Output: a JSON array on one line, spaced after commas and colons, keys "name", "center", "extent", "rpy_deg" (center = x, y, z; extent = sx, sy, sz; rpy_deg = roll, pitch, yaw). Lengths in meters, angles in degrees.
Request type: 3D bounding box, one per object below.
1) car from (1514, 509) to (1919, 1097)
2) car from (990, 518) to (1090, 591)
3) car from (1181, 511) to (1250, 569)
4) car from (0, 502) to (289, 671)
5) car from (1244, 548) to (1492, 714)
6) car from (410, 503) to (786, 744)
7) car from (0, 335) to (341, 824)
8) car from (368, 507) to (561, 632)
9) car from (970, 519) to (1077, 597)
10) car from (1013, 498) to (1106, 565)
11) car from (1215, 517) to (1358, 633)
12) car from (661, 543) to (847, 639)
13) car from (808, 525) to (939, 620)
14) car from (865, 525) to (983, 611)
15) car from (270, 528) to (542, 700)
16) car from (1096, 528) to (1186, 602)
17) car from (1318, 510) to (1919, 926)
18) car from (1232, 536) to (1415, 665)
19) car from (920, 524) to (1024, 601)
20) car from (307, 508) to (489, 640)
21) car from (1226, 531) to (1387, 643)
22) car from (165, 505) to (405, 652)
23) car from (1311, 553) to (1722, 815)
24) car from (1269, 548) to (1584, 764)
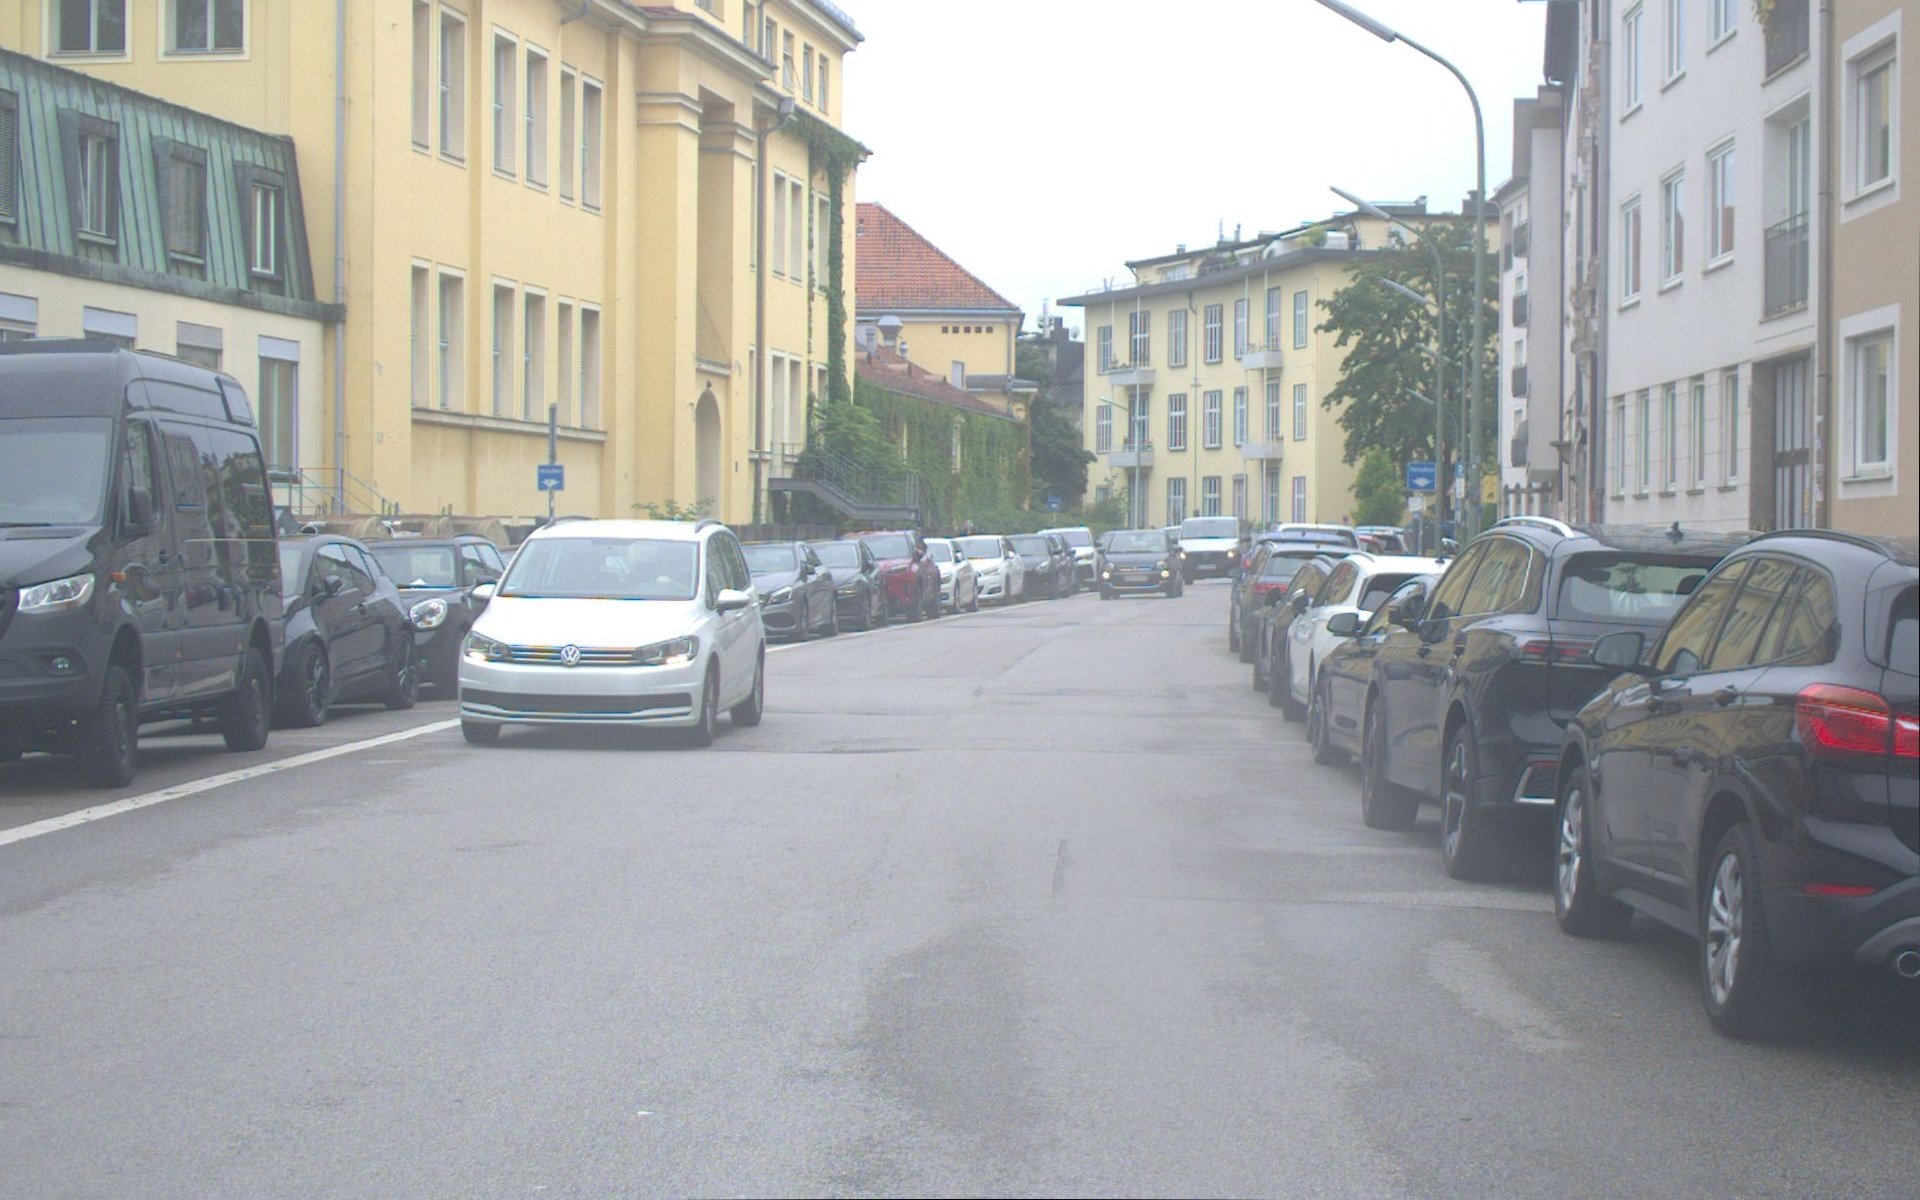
[{"name": "car", "center": [3.233, 0.550, 11.911], "extent": [1.830, 1.596, 4.267], "rpy_deg": [2, 2, -1]}, {"name": "car", "center": [1.922, -1.106, 81.438], "extent": [1.994, 1.543, 4.000], "rpy_deg": [2, 2, 6]}, {"name": "car", "center": [6.947, -1.637, 93.164], "extent": [1.698, 1.439, 3.508], "rpy_deg": [2, 2, 6]}, {"name": "car", "center": [-9.179, -0.201, 38.419], "extent": [1.994, 1.681, 3.999], "rpy_deg": [3, 2, 9]}, {"name": "car", "center": [3.872, 0.245, 33.306], "extent": [1.887, 1.405, 4.431], "rpy_deg": [2, 1, 1]}, {"name": "car", "center": [-2.600, 0.173, 25.841], "extent": [2.026, 1.616, 4.504], "rpy_deg": [-1, 0, 4]}, {"name": "car", "center": [-5.803, -0.133, 22.072], "extent": [2.422, 2.706, 5.953], "rpy_deg": [0, 0, 2]}, {"name": "car", "center": [-7.212, -0.482, 50.333], "extent": [1.720, 1.655, 3.747], "rpy_deg": [3, 2, 9]}, {"name": "car", "center": [1.439, -0.962, 76.618], "extent": [1.994, 1.543, 4.000], "rpy_deg": [2, 2, 6]}, {"name": "car", "center": [2.513, -1.732, 86.227], "extent": [1.994, 1.543, 4.000], "rpy_deg": [2, 2, 6]}, {"name": "car", "center": [4.946, -0.408, 52.539], "extent": [1.887, 1.624, 4.431], "rpy_deg": [2, 1, 2]}, {"name": "car", "center": [-2.874, -0.157, 48.886], "extent": [1.900, 1.143, 4.229], "rpy_deg": [2, 2, 7]}, {"name": "car", "center": [-1.429, -0.484, 58.107], "extent": [1.698, 1.439, 3.508], "rpy_deg": [2, 2, 6]}, {"name": "car", "center": [-0.642, -0.616, 63.923], "extent": [1.698, 1.439, 3.508], "rpy_deg": [3, 2, 7]}, {"name": "car", "center": [-5.306, 0.087, 33.365], "extent": [1.699, 1.448, 3.741], "rpy_deg": [2, 2, 5]}, {"name": "car", "center": [3.939, -0.780, 74.574], "extent": [1.698, 1.439, 3.508], "rpy_deg": [2, 2, 6]}, {"name": "car", "center": [3.019, 0.435, 16.692], "extent": [1.964, 1.596, 4.672], "rpy_deg": [2, 2, -1]}, {"name": "car", "center": [4.368, -0.033, 41.886], "extent": [1.887, 1.405, 4.431], "rpy_deg": [2, 1, 2]}, {"name": "car", "center": [0.274, -0.794, 71.221], "extent": [1.698, 1.439, 3.508], "rpy_deg": [3, 2, 7]}, {"name": "car", "center": [-7.659, -0.381, 47.029], "extent": [1.606, 1.655, 2.808], "rpy_deg": [3, 2, 9]}, {"name": "car", "center": [4.723, -0.215, 47.399], "extent": [1.887, 1.405, 4.431], "rpy_deg": [2, 1, 2]}, {"name": "car", "center": [-8.370, -0.307, 42.934], "extent": [1.720, 1.655, 3.747], "rpy_deg": [3, 2, 9]}, {"name": "car", "center": [3.411, 0.453, 21.868], "extent": [1.887, 1.317, 4.275], "rpy_deg": [2, 2, 0]}, {"name": "car", "center": [3.612, 0.372, 27.440], "extent": [1.887, 1.470, 4.743], "rpy_deg": [2, 1, 1]}]
